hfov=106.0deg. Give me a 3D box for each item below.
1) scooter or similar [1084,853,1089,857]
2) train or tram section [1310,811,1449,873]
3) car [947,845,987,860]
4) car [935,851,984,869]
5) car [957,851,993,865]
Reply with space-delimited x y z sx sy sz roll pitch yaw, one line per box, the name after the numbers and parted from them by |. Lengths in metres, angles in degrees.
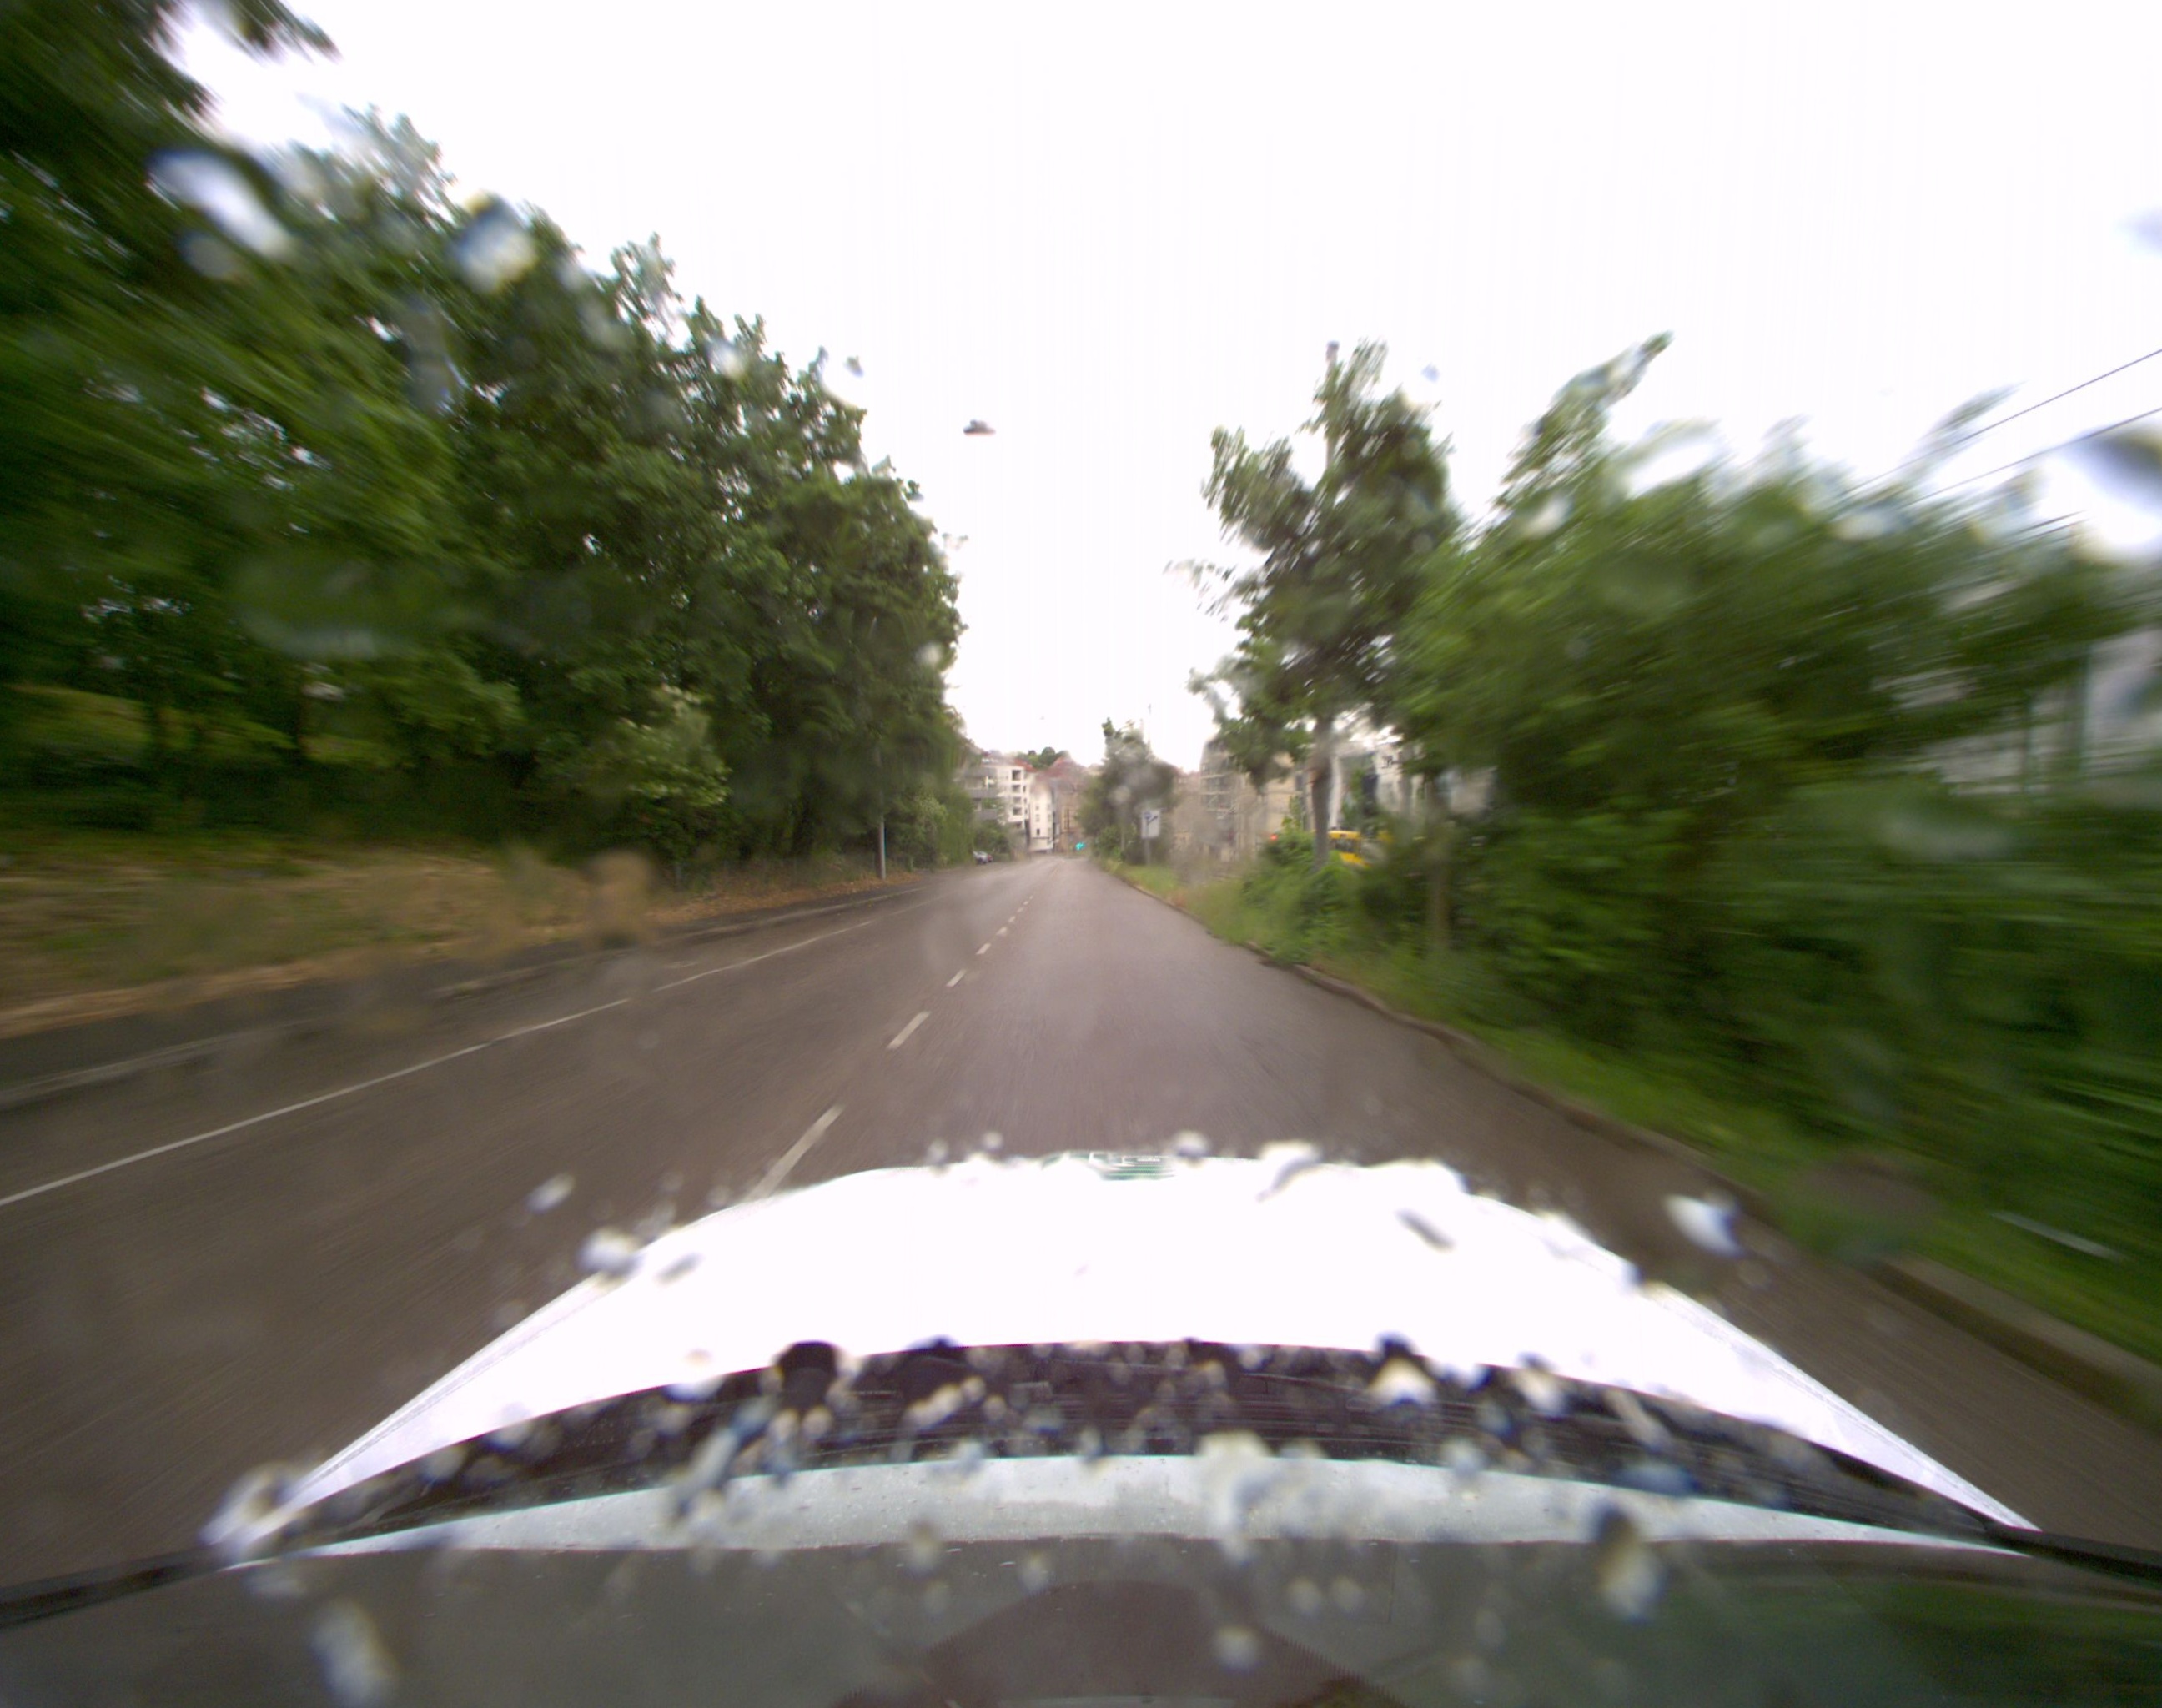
1.164 0.146 161.939 0.480 0.761 1.338 0 0 27 | scooter or similar
21.732 -0.773 61.469 3.321 3.947 18.805 1 0 -1 | train or tram section
-11.979 -0.125 85.818 3.981 1.559 1.877 1 -1 -5 | car
-11.568 0.588 77.992 4.437 1.602 1.813 1 1 -2 | car
-11.475 0.455 88.195 3.619 1.407 1.784 1 -1 0 | car
